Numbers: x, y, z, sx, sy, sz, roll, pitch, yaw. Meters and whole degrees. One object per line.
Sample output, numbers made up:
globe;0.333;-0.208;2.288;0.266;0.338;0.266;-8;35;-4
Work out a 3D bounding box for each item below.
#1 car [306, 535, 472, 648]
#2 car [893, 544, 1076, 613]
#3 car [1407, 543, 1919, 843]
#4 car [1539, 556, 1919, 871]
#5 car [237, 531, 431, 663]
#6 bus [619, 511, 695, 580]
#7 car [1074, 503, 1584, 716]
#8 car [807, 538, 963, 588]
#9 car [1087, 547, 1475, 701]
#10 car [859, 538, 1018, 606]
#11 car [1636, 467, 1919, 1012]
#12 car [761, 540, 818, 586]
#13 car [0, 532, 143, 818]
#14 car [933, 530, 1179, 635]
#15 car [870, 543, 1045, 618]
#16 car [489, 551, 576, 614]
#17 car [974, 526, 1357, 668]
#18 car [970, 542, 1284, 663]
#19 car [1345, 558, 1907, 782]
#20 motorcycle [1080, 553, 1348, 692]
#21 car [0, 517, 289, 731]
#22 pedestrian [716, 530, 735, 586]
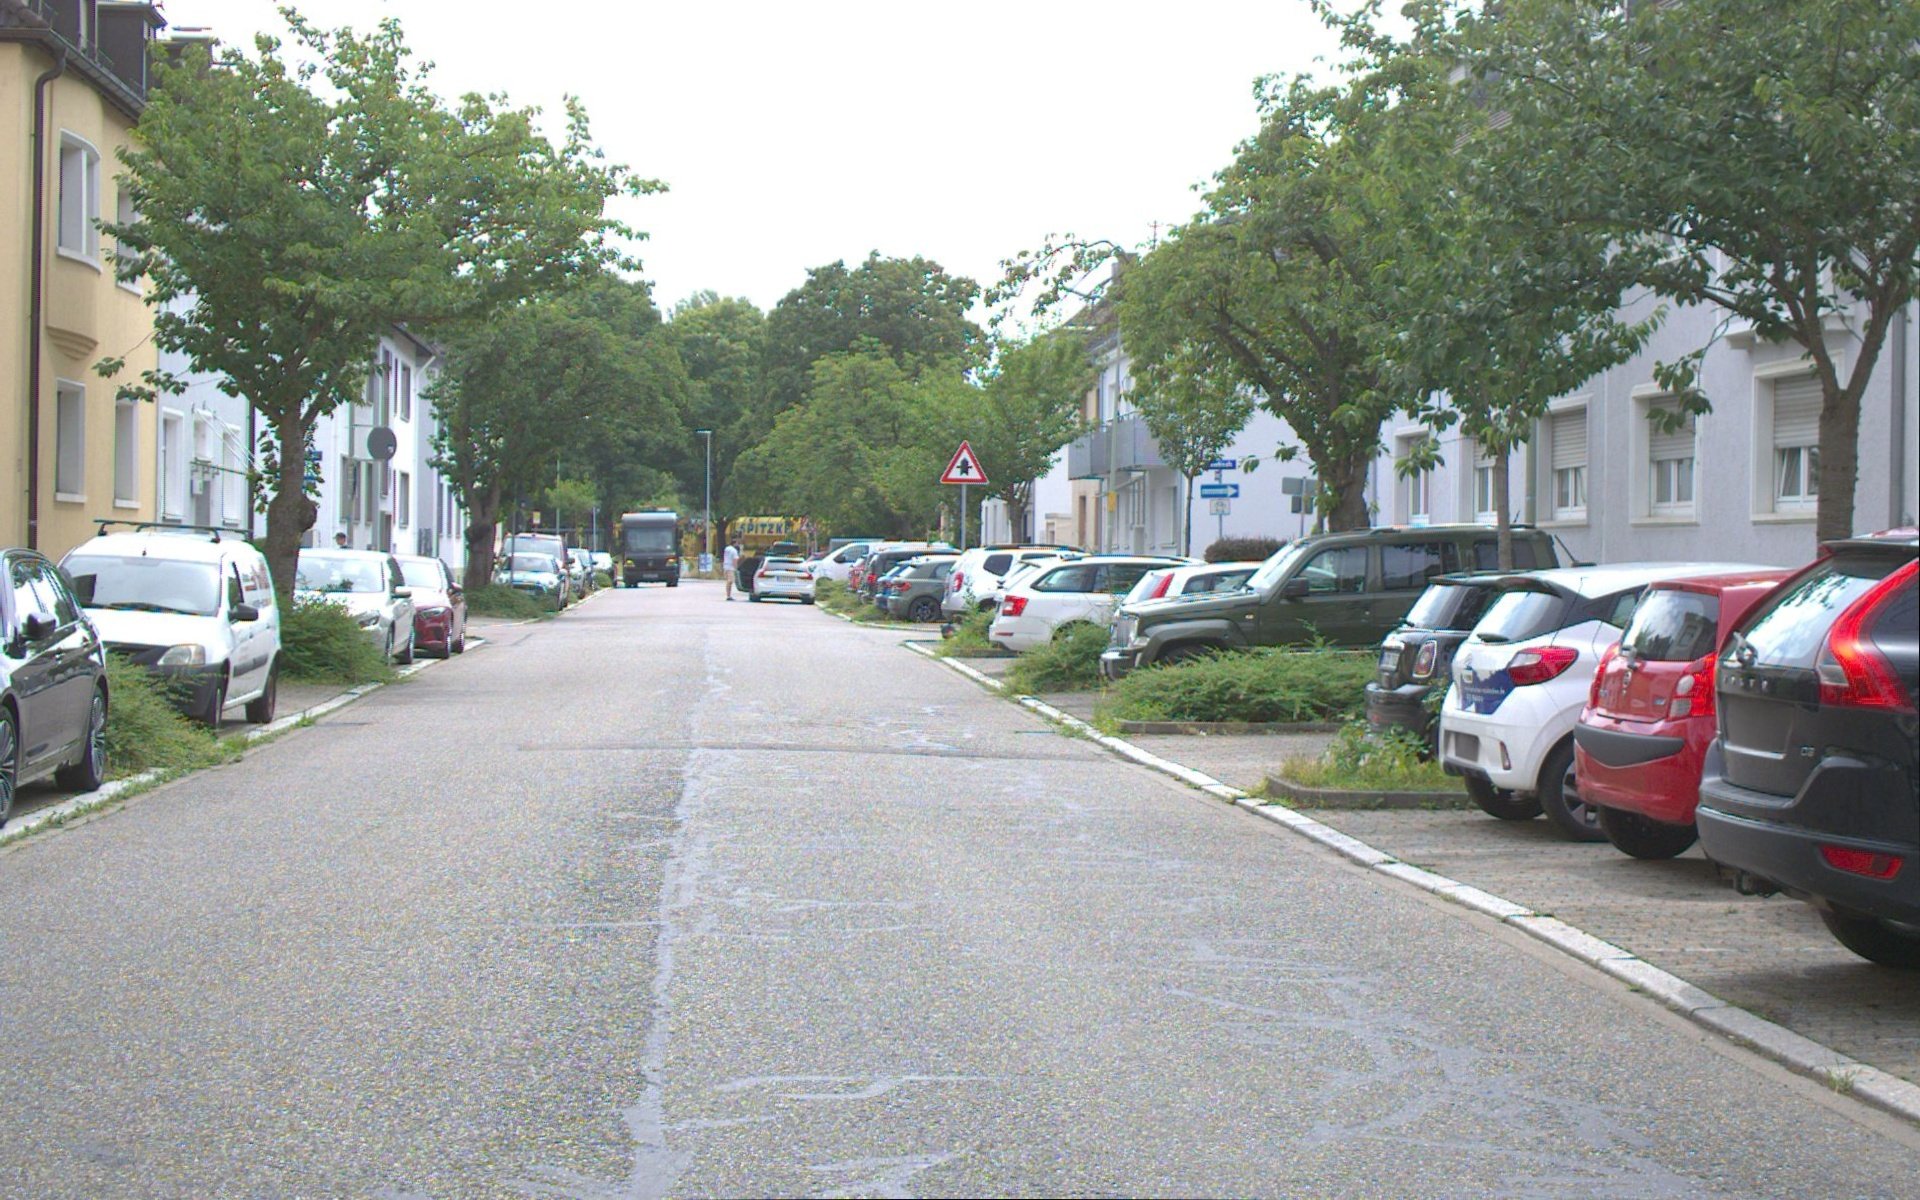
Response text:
car;-8.047;-0.146;48.752;1.877;1.481;4.513;-1;1;-4
car;0.502;-0.469;73.030;3.747;1.361;1.773;-1;1;-3
car;4.680;0.460;19.216;3.986;1.525;1.768;-1;1;-7
car;5.047;0.486;16.857;3.986;1.405;1.768;-1;1;-7
car;-7.849;-0.062;43.430;1.771;1.387;4.275;6;0;-3
bus;-12.688;-2.282;144.316;3.003;2.752;8.925;-1;1;-4
car;3.404;0.072;32.256;4.525;1.851;1.793;-1;1;-1
car;-2.475;-1.218;113.248;4.974;1.513;1.769;-1;1;-6
car;3.251;0.224;35.215;3.624;1.449;1.773;-1;1;-8
car;-0.539;-0.681;83.312;3.747;1.559;1.773;-1;1;-3
car;4.683;0.391;11.972;4.214;1.730;1.904;-1;1;-2
car;-5.198;-1.125;104.739;1.687;1.349;3.827;-1;1;-3
car;-5.979;0.361;19.529;1.790;1.487;4.813;1;0;-4
car;1.568;-0.297;57.322;3.923;1.627;1.868;-1;1;-3
car;-0.073;-0.431;75.752;3.747;1.559;1.773;-1;1;-3
car;-10.818;-0.459;87.166;1.763;1.549;3.731;-1;1;-1
car;2.557;-0.048;43.537;4.614;1.658;1.893;-1;1;-3
car;2.197;0.018;45.970;3.986;1.503;1.713;-1;1;-4
car;4.675;0.465;24.443;3.542;1.448;1.809;-1;1;-5
motorcycle;2.714;0.235;36.931;2.700;1.459;1.032;0;1;-8
car;-6.763;0.154;28.143;1.918;1.576;4.383;-1;1;-4
pedestrian;-7.075;-1.267;103.826;0.522;1.698;0.444;-1;1;0
